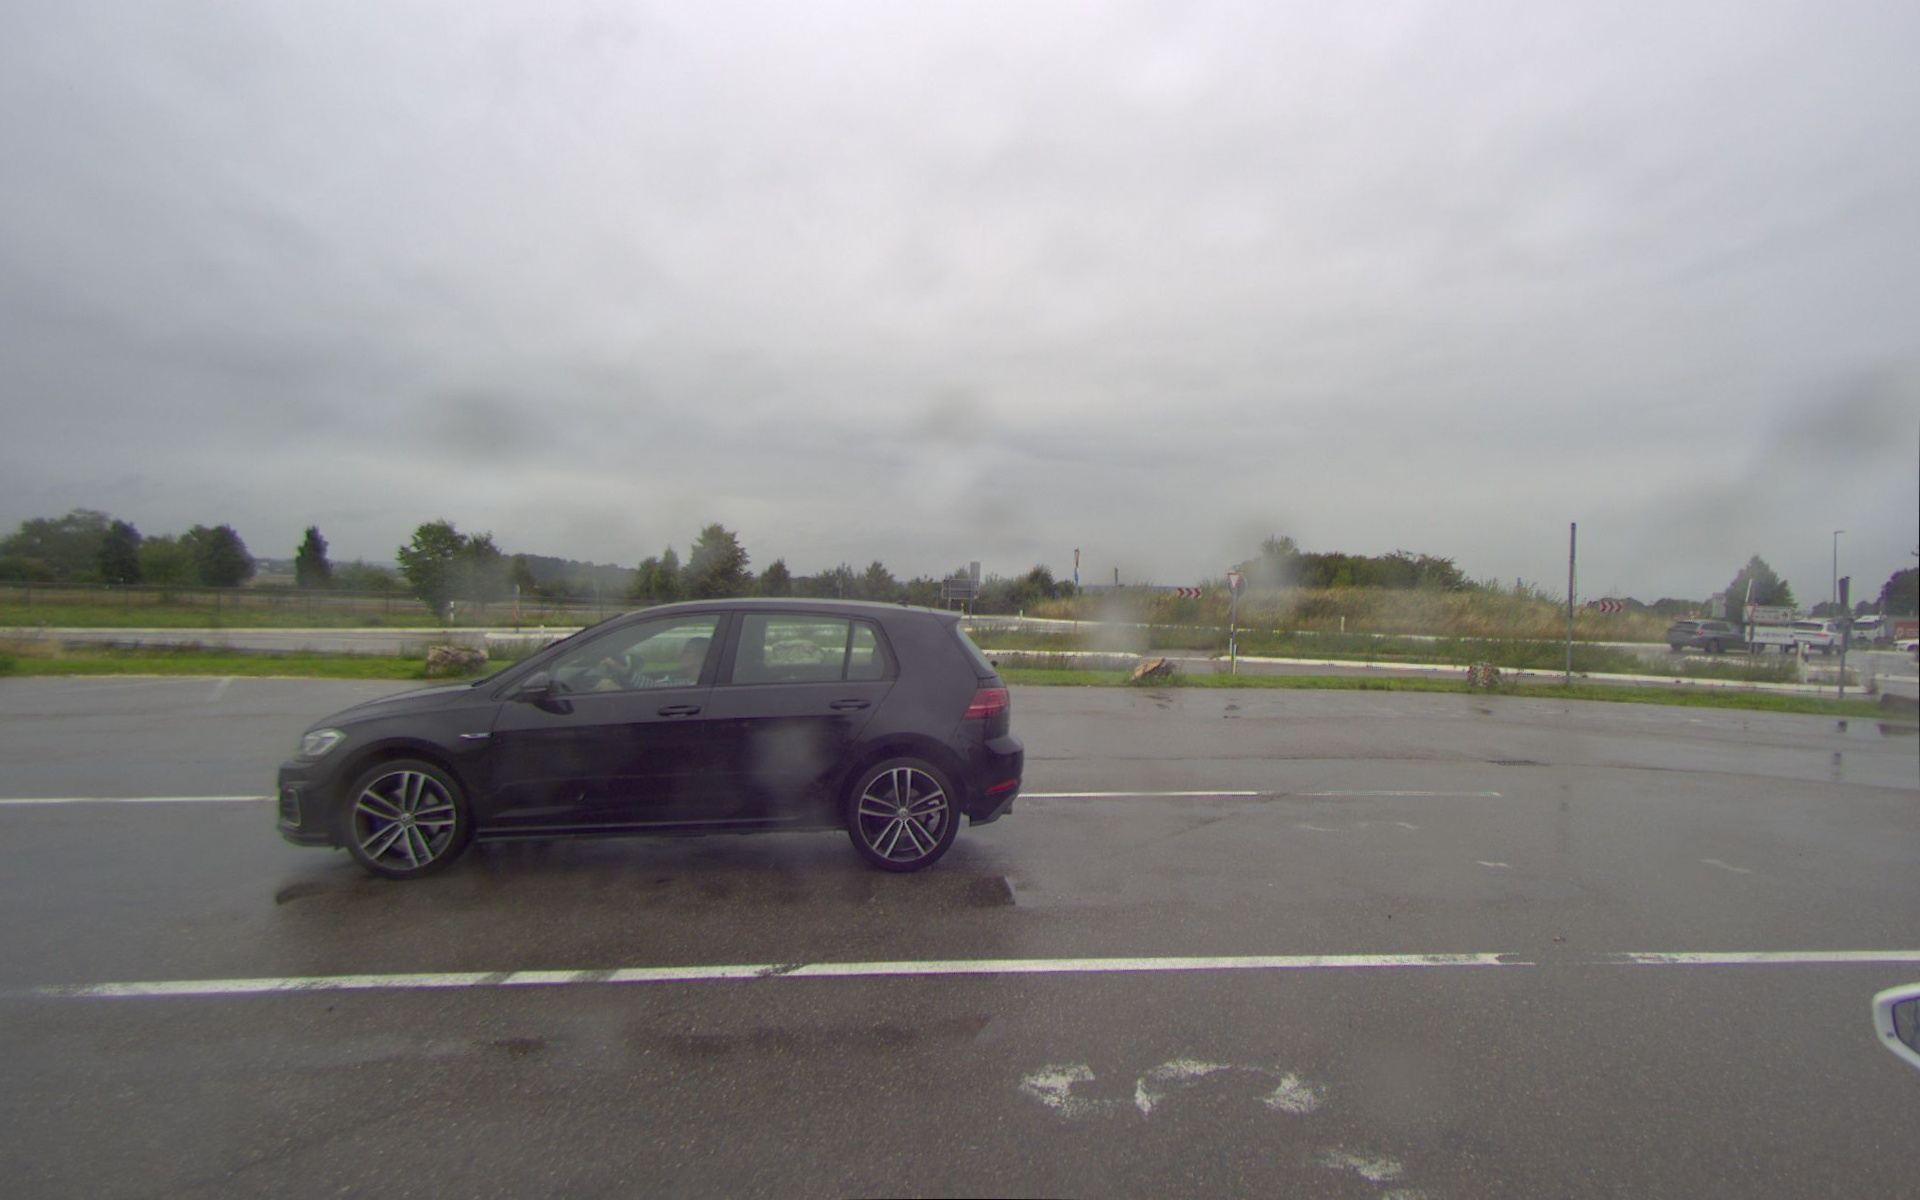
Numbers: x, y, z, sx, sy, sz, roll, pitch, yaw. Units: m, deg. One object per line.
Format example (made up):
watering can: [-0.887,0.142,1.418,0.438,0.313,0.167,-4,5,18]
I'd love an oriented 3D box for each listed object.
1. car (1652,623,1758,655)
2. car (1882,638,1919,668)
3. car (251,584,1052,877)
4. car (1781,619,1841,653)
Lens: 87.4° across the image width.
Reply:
car: [34.378,1.793,46.406,3.972,1.343,1.690,1,0,-11]
car: [60.852,3.396,62.854,4.281,1.782,1.749,2,0,21]
car: [-1.593,0.688,6.069,4.001,1.452,1.778,1,0,-6]
car: [42.649,1.779,50.320,4.352,1.605,1.673,1,0,-41]
